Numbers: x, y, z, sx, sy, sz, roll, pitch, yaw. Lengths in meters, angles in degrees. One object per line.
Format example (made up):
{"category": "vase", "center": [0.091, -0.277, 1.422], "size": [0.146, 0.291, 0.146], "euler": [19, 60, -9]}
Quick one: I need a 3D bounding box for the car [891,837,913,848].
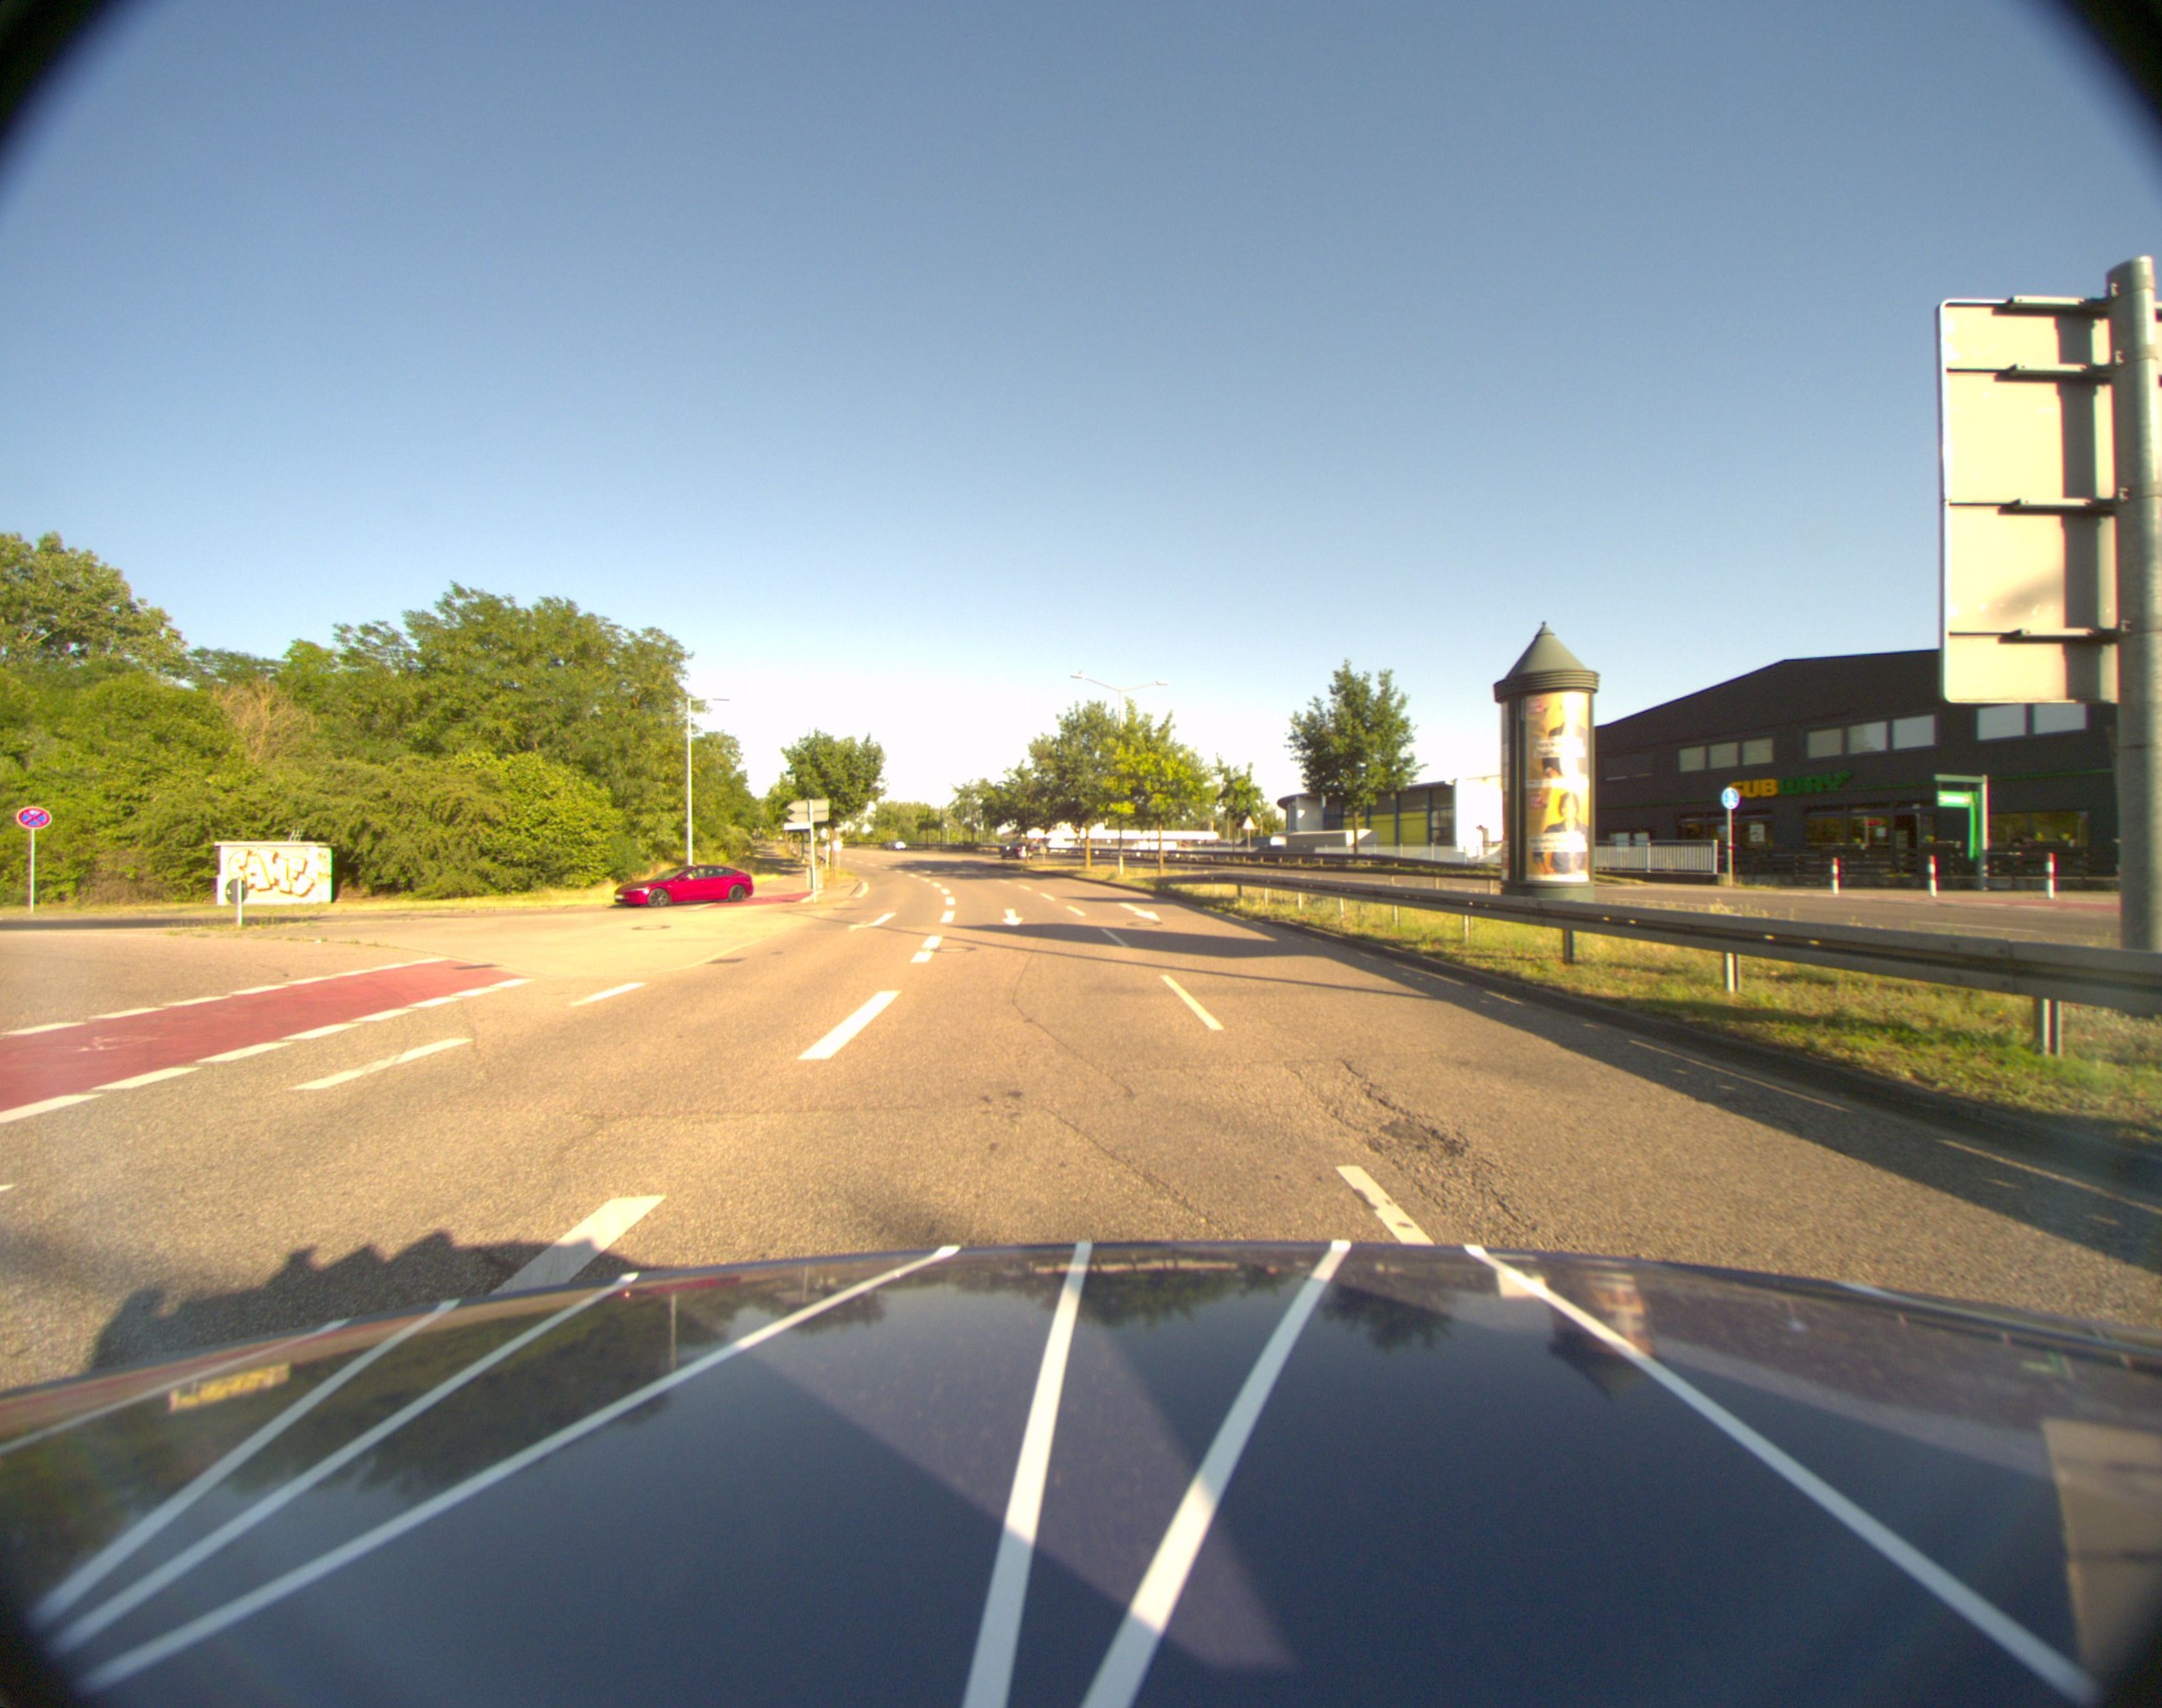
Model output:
{"category": "car", "center": [-24.385, -1.527, 103.222], "size": [1.680, 1.454, 4.094], "euler": [-2, 2, -32]}

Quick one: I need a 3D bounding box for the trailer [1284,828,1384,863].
{"category": "trailer", "center": [15.446, -0.561, 46.941], "size": [2.429, 1.959, 6.593], "euler": [-1, 2, -19]}

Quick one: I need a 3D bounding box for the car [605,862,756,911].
{"category": "car", "center": [-14.118, 1.114, 27.052], "size": [1.778, 1.433, 4.367], "euler": [-3, 0, 32]}

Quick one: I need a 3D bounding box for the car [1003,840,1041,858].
{"category": "car", "center": [-5.362, -0.480, 68.555], "size": [1.854, 1.595, 4.384], "euler": [-1, 2, -27]}

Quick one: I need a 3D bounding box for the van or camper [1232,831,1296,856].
{"category": "van or camper", "center": [12.873, -0.782, 53.783], "size": [2.002, 1.676, 4.951], "euler": [-1, 2, -20]}

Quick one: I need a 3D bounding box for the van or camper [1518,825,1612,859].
{"category": "van or camper", "center": [28.109, -0.729, 44.277], "size": [4.220, 1.915, 2.002], "euler": [1, 3, 16]}

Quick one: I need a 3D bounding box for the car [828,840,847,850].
{"category": "car", "center": [-37.811, -1.325, 118.004], "size": [1.749, 1.454, 3.756], "euler": [-3, 2, -34]}
